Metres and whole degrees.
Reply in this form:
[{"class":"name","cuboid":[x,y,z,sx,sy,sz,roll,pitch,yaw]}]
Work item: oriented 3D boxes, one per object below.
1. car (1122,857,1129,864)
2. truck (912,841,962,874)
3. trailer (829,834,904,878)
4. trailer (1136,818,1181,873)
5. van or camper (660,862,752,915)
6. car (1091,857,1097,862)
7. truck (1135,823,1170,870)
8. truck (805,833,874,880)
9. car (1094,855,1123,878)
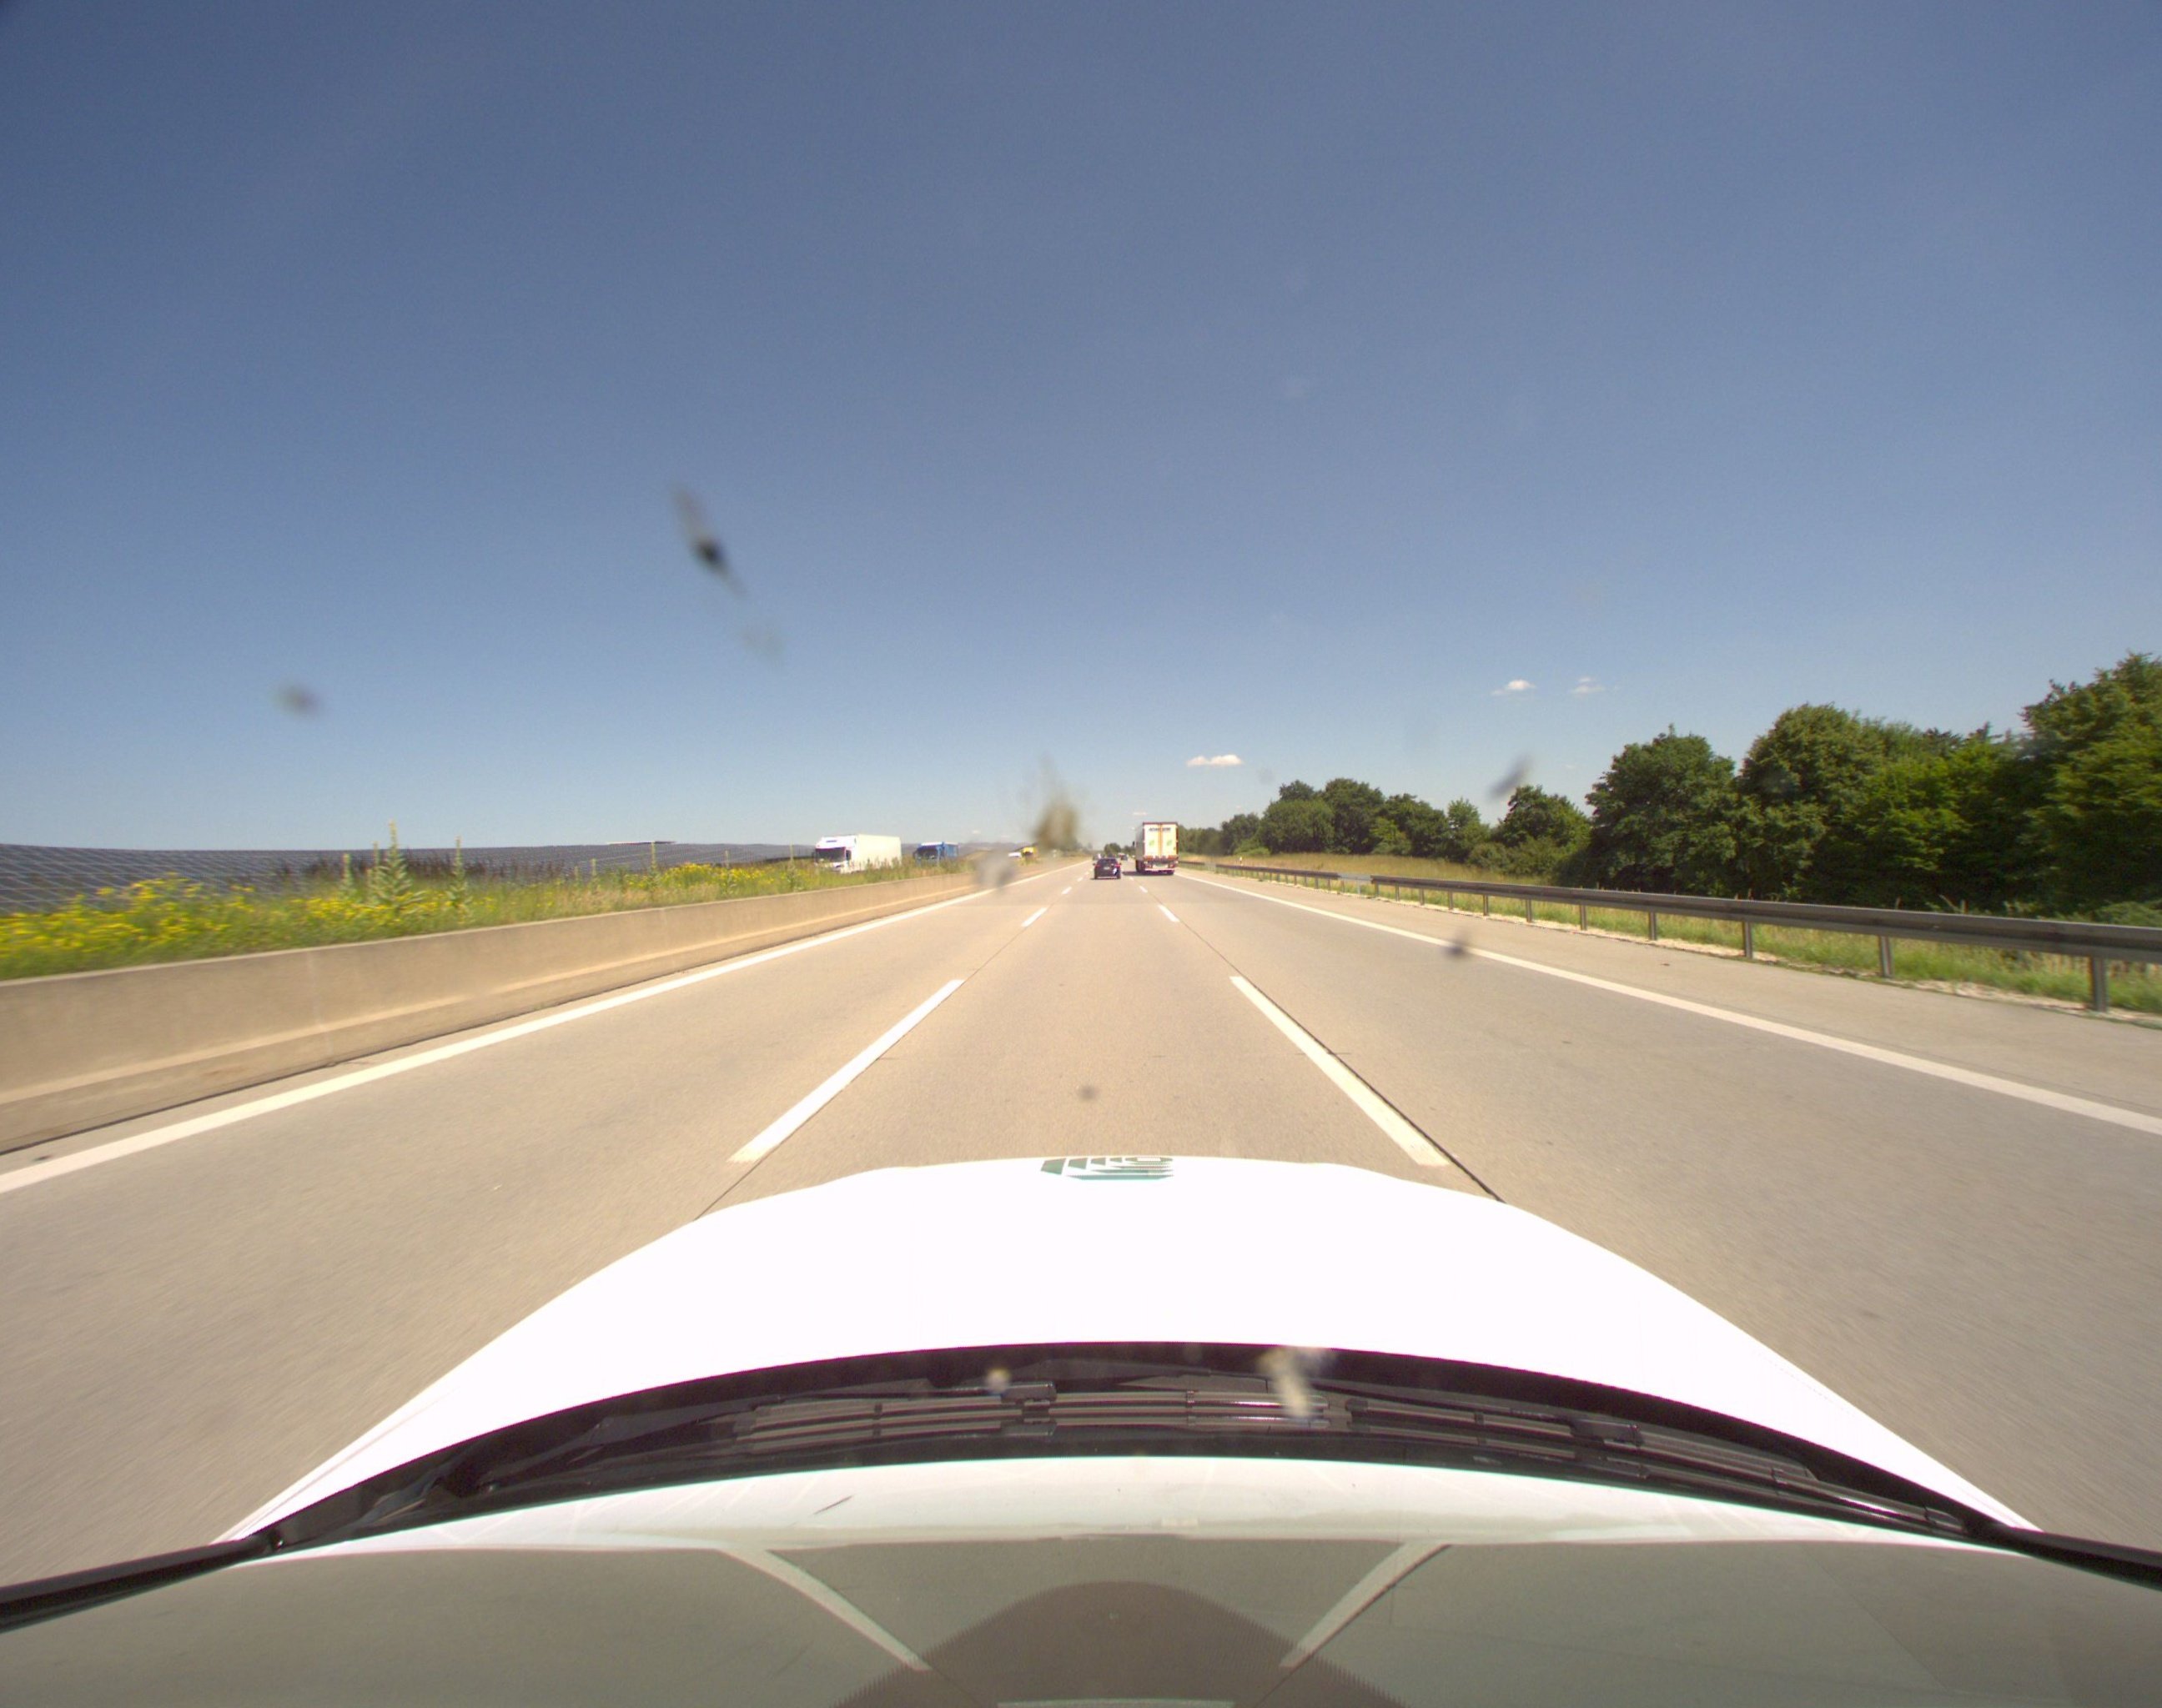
[{"class":"car","cuboid":[12.513,1.857,229.033,1.820,1.907,4.001,-1,-1,1]},{"class":"truck","cuboid":[-14.183,0.354,80.963,2.814,3.064,10.378,0,-1,2]},{"class":"trailer","cuboid":[-18.449,0.204,71.049,3.062,3.524,11.769,0,-1,2]},{"class":"trailer","cuboid":[6.159,-0.611,66.704,2.842,4.042,12.719,-1,0,2]},{"class":"van or camper","cuboid":[-15.115,1.339,33.059,1.756,1.970,3.952,-1,0,2]},{"class":"car","cuboid":[3.642,1.616,232.350,1.649,1.196,3.962,2,0,2]},{"class":"truck","cuboid":[6.443,-0.625,74.398,2.801,4.088,5.800,-1,0,2]},{"class":"truck","cuboid":[-18.766,0.226,63.783,3.110,3.487,6.888,0,-1,2]},{"class":"car","cuboid":[1.831,0.844,55.130,1.903,1.492,4.193,0,0,1]}]
